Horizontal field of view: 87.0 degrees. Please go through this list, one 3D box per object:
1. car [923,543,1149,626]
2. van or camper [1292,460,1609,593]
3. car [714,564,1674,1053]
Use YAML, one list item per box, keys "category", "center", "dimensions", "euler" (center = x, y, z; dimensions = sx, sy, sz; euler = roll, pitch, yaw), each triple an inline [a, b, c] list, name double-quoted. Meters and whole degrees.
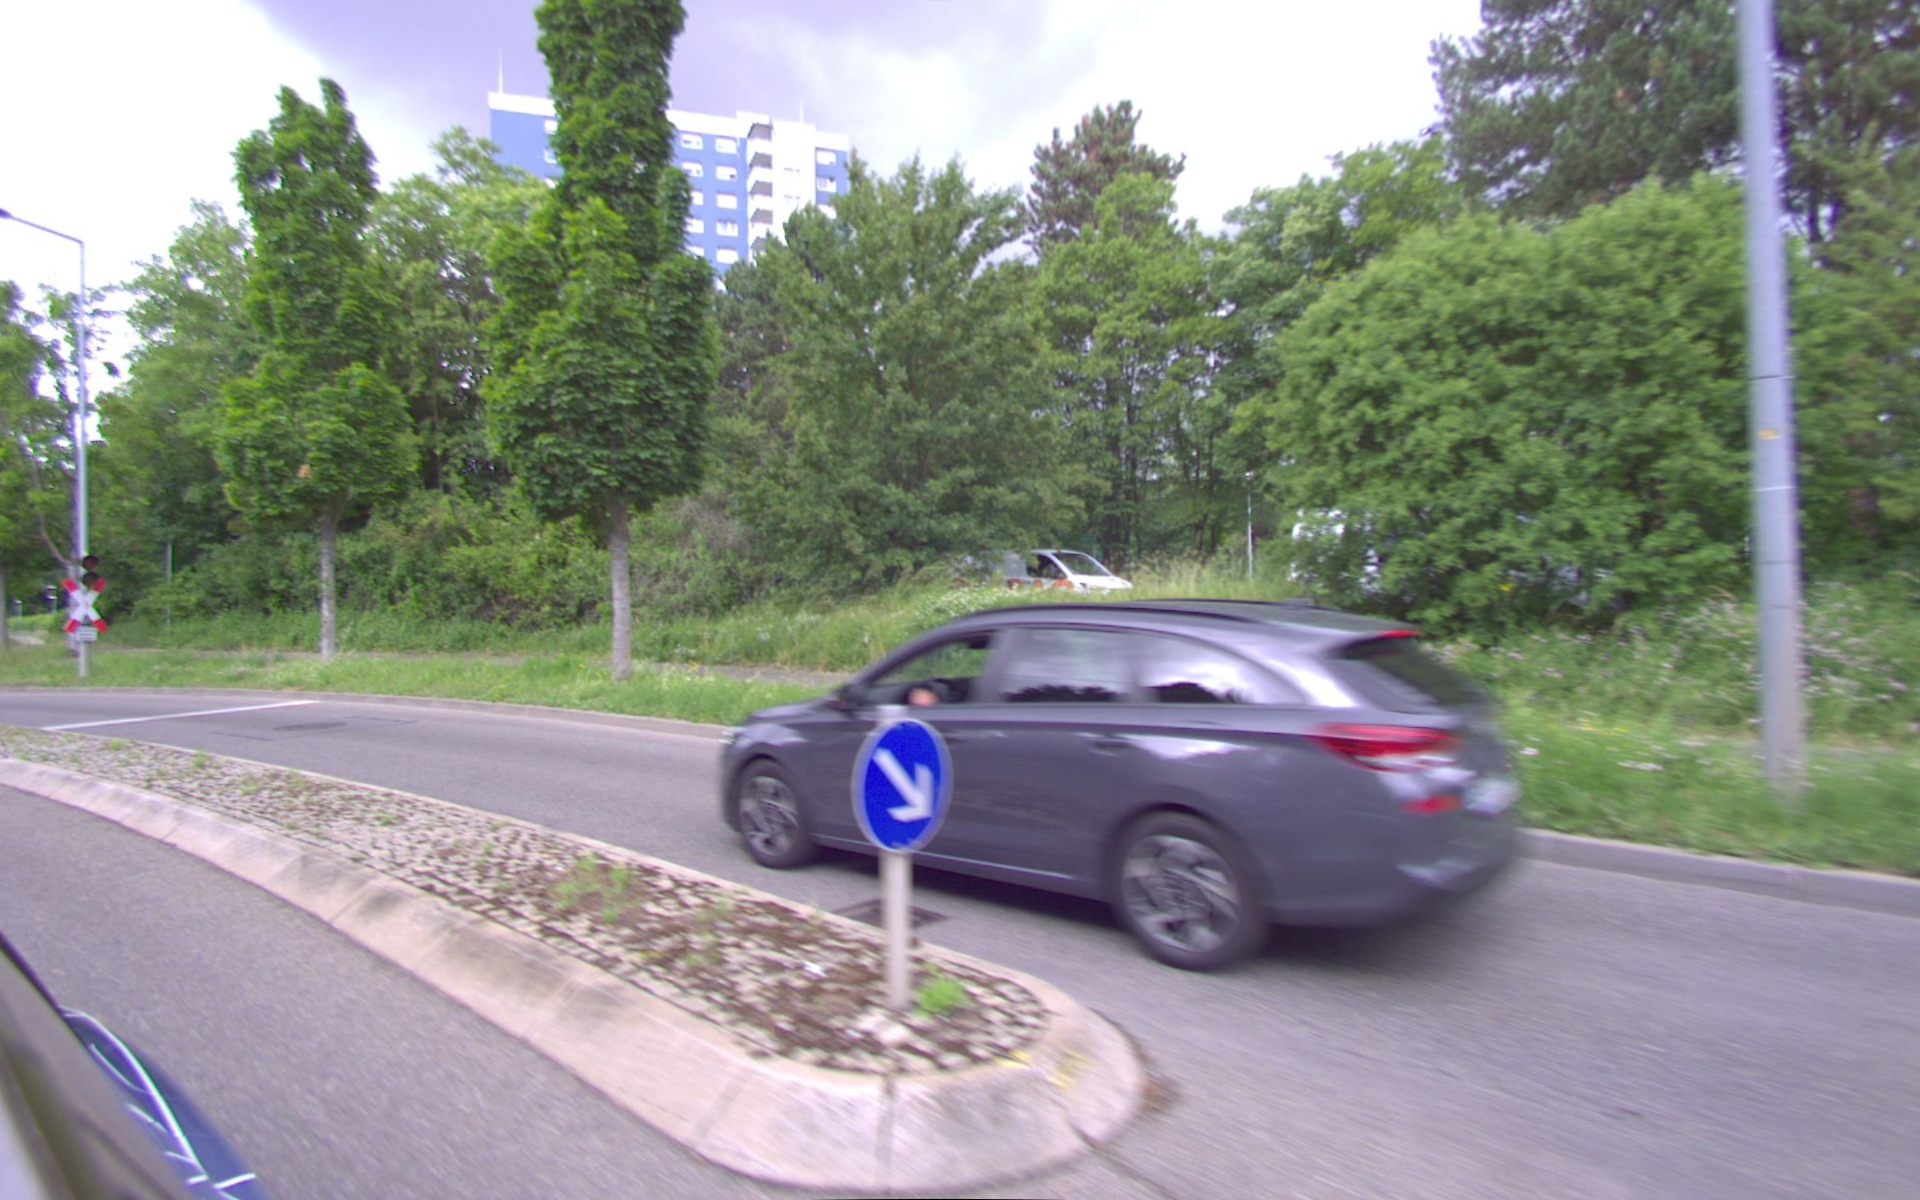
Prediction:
- category: "car"
  center: [1.729, -0.297, 24.600]
  dimensions: [5.324, 1.738, 2.115]
  euler: [-2, -2, 44]
- category: "van or camper"
  center: [8.536, -1.148, 17.902]
  dimensions: [4.630, 1.891, 1.971]
  euler: [-2, -2, 43]
- category: "car"
  center: [0.843, 0.674, 5.237]
  dimensions: [4.425, 1.449, 1.972]
  euler: [-2, -1, 42]
